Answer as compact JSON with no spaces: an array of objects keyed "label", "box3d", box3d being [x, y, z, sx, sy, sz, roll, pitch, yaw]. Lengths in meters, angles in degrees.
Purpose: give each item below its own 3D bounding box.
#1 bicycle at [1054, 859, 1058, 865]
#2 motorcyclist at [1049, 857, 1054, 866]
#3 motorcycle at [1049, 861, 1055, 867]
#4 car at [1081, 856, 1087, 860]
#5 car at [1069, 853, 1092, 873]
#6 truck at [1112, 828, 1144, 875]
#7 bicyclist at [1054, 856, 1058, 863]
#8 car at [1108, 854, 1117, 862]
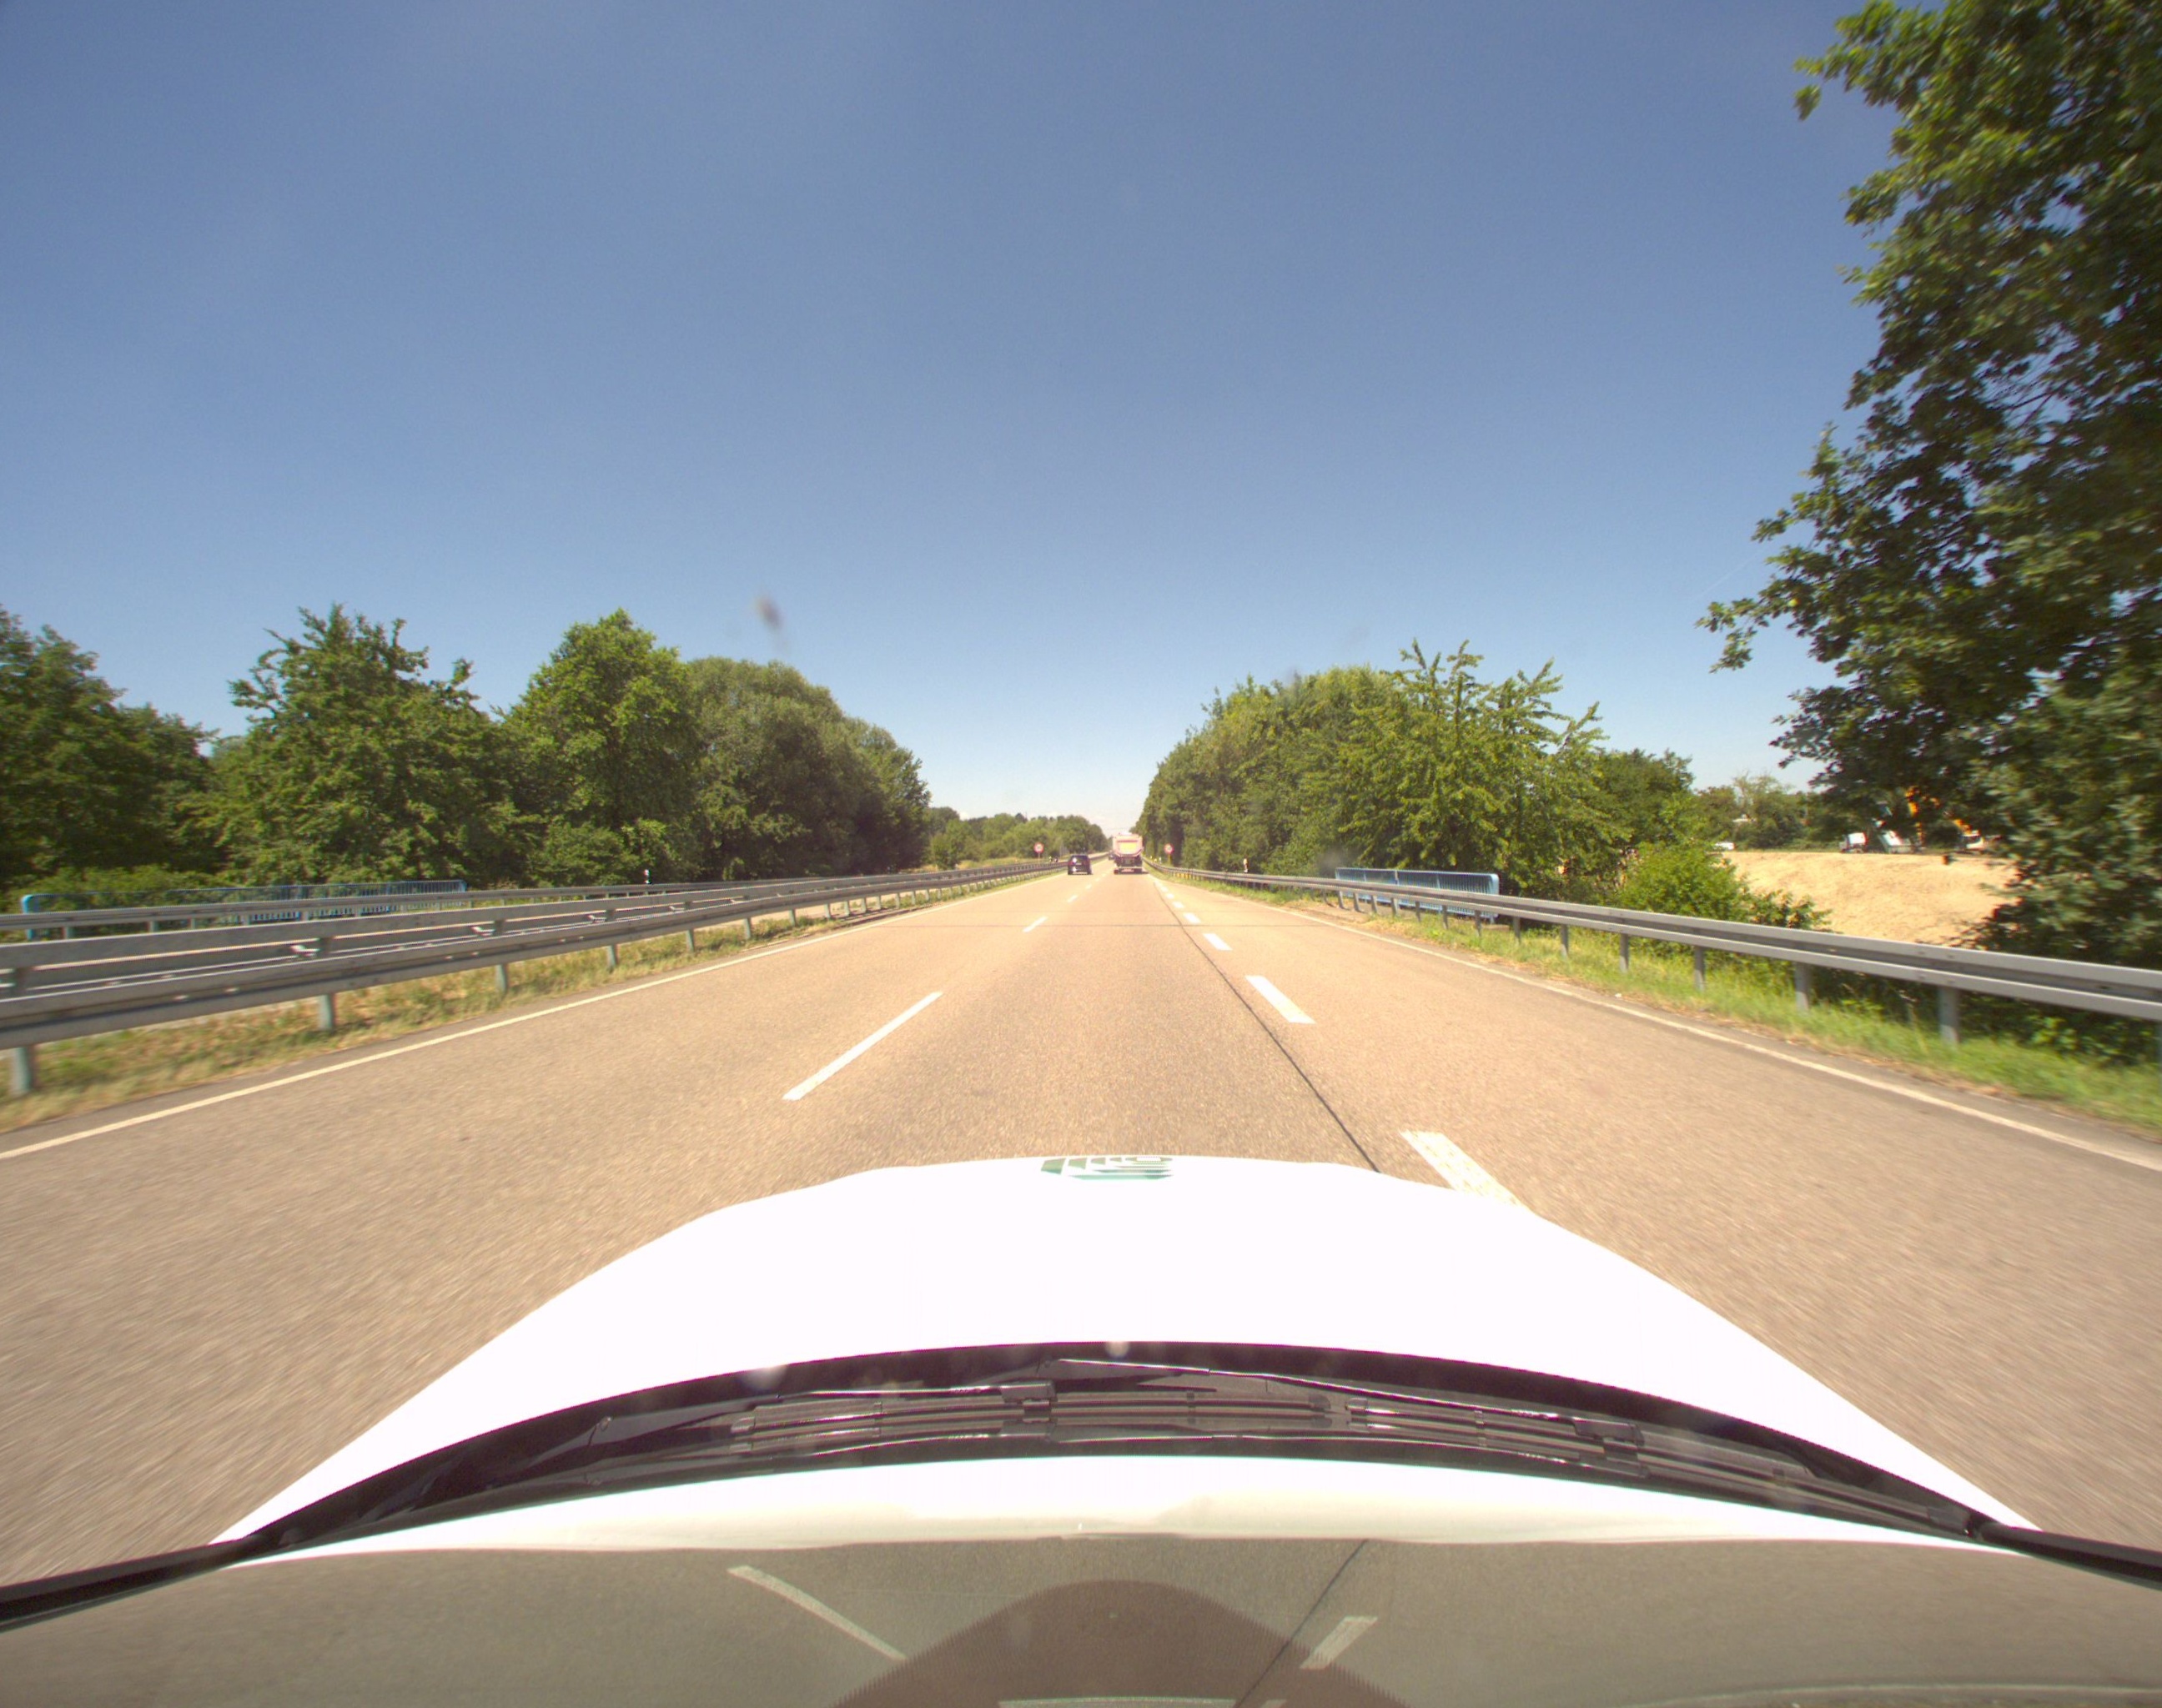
[{"label":"bicycle","box3d":[-4.965,1.652,160.940,0.611,1.157,2.282,-1,-1,3]},{"label":"motorcyclist","box3d":[-5.044,1.225,139.628,0.715,1.482,0.810,-1,-1,4]},{"label":"motorcycle","box3d":[-5.035,1.761,139.561,0.723,1.064,2.669,-1,-1,4]},{"label":"car","box3d":[0.846,1.323,253.530,1.621,1.332,3.538,-1,0,3]},{"label":"car","box3d":[-0.033,0.847,70.700,1.850,1.671,4.002,0,-1,2]},{"label":"truck","box3d":[4.269,-0.234,74.819,2.709,3.930,12.379,-1,0,3]},{"label":"bicyclist","box3d":[-4.961,1.054,161.101,0.611,1.277,0.608,-1,-1,3]},{"label":"car","box3d":[7.194,1.022,186.160,1.850,1.718,4.002,0,-1,2]}]
